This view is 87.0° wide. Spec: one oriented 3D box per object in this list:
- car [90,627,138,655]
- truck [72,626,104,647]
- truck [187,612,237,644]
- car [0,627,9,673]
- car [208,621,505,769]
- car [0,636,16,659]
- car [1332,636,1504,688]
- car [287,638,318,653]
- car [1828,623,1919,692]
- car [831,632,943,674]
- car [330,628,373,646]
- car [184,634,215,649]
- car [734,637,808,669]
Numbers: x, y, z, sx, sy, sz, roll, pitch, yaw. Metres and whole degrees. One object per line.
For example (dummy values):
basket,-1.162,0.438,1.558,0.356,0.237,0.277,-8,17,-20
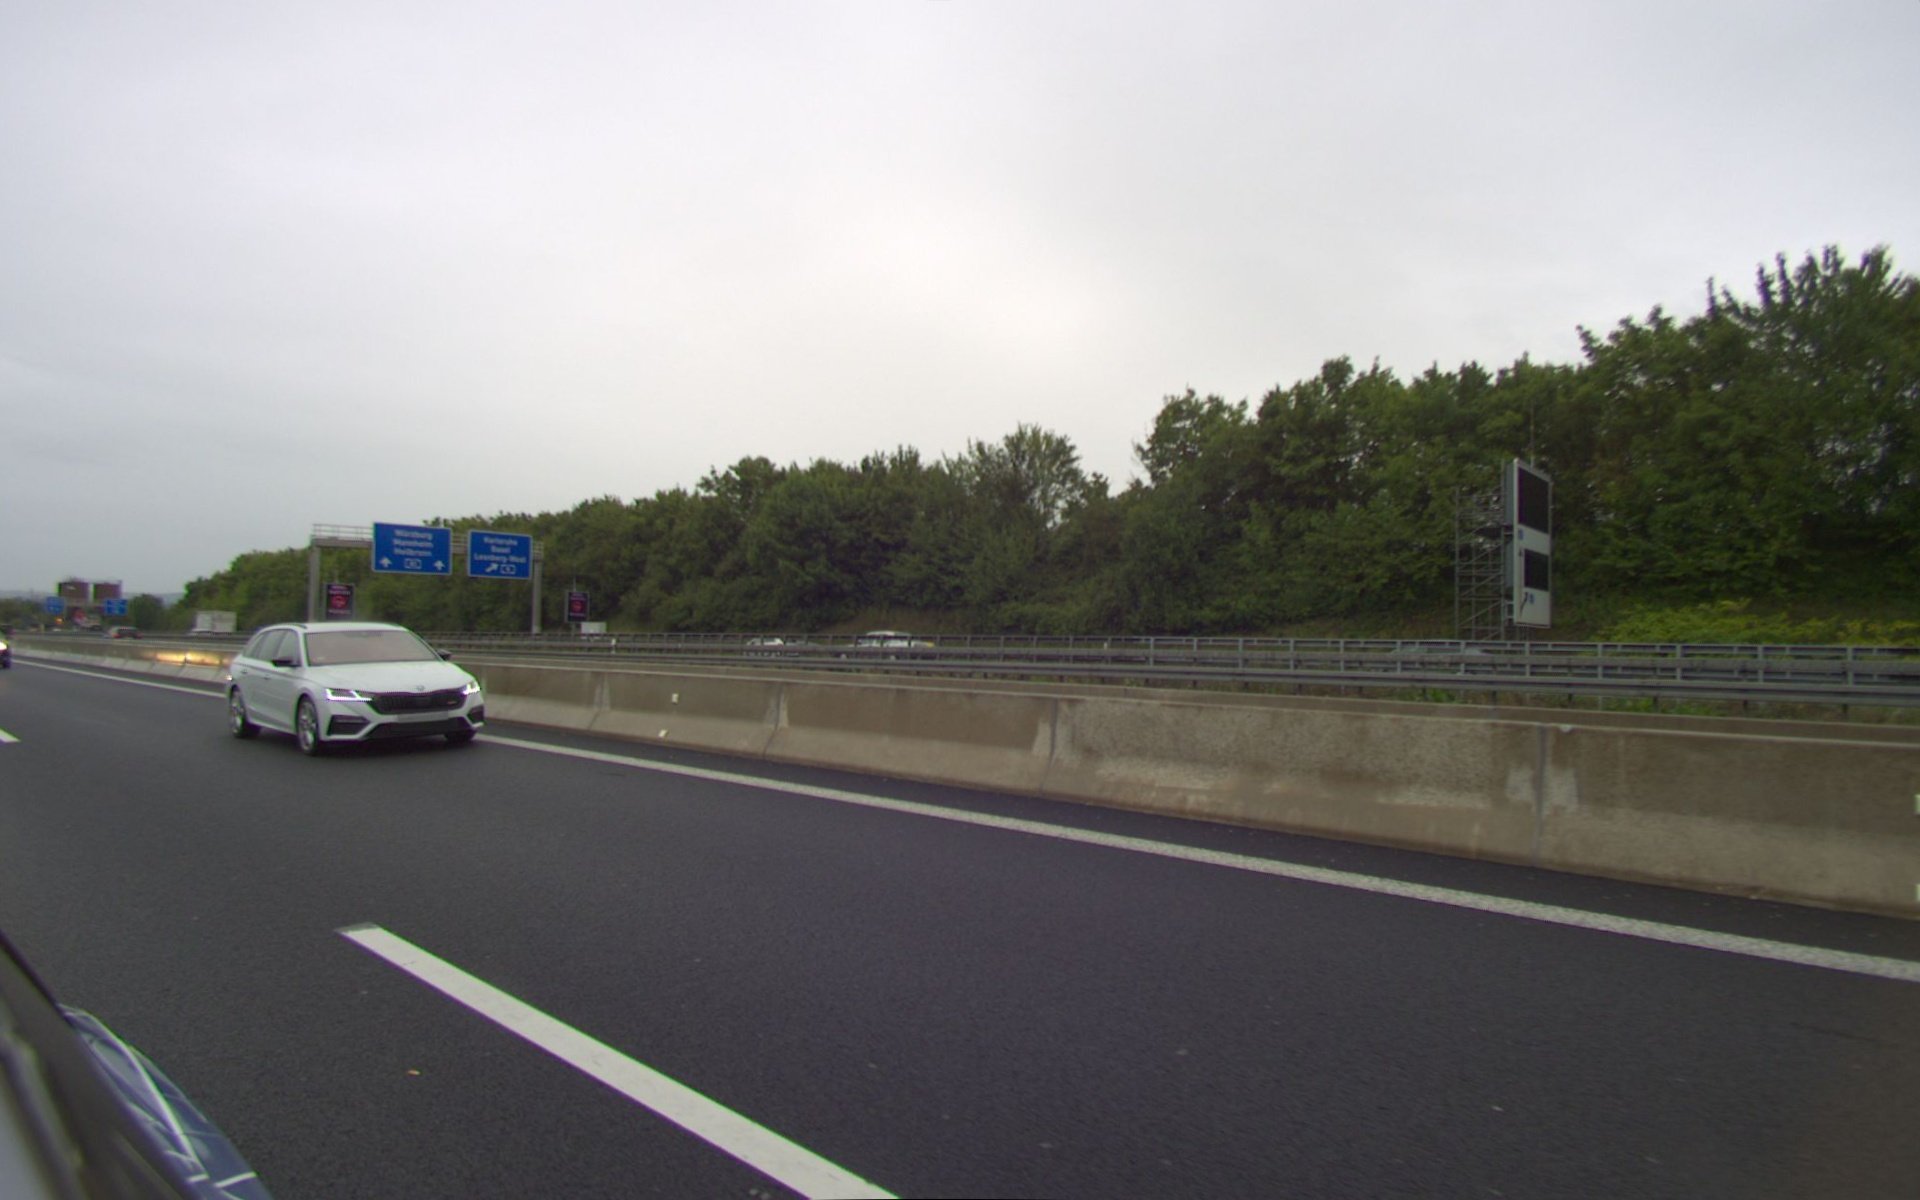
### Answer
car,-63.140,3.025,75.529,4.979,2.029,1.973,-1,-1,41
truck,-143.765,5.933,166.809,9.074,3.245,2.821,-1,-1,41
truck,-94.527,3.506,127.832,9.630,3.908,3.042,-1,-1,41
car,-33.322,1.654,33.862,4.564,1.500,1.704,-1,-1,40
car,-7.575,1.008,12.483,4.776,1.467,1.799,-1,-1,42
car,-88.616,4.363,93.123,4.979,2.029,1.973,-1,-1,41
car,14.803,1.959,32.902,4.777,1.467,1.799,-1,-1,43
car,-68.880,4.797,106.035,3.998,1.467,1.658,-1,-1,41
car,22.251,1.260,22.300,4.558,1.467,1.803,-1,-1,35
car,-2.851,1.998,38.991,4.266,1.467,1.800,-1,-1,40
car,-52.896,3.193,87.960,4.471,1.504,1.800,-1,-1,40
car,-79.131,4.273,105.234,4.630,1.467,1.658,-1,-1,41
car,-10.444,2.893,55.802,4.055,1.644,1.800,-1,-1,40
